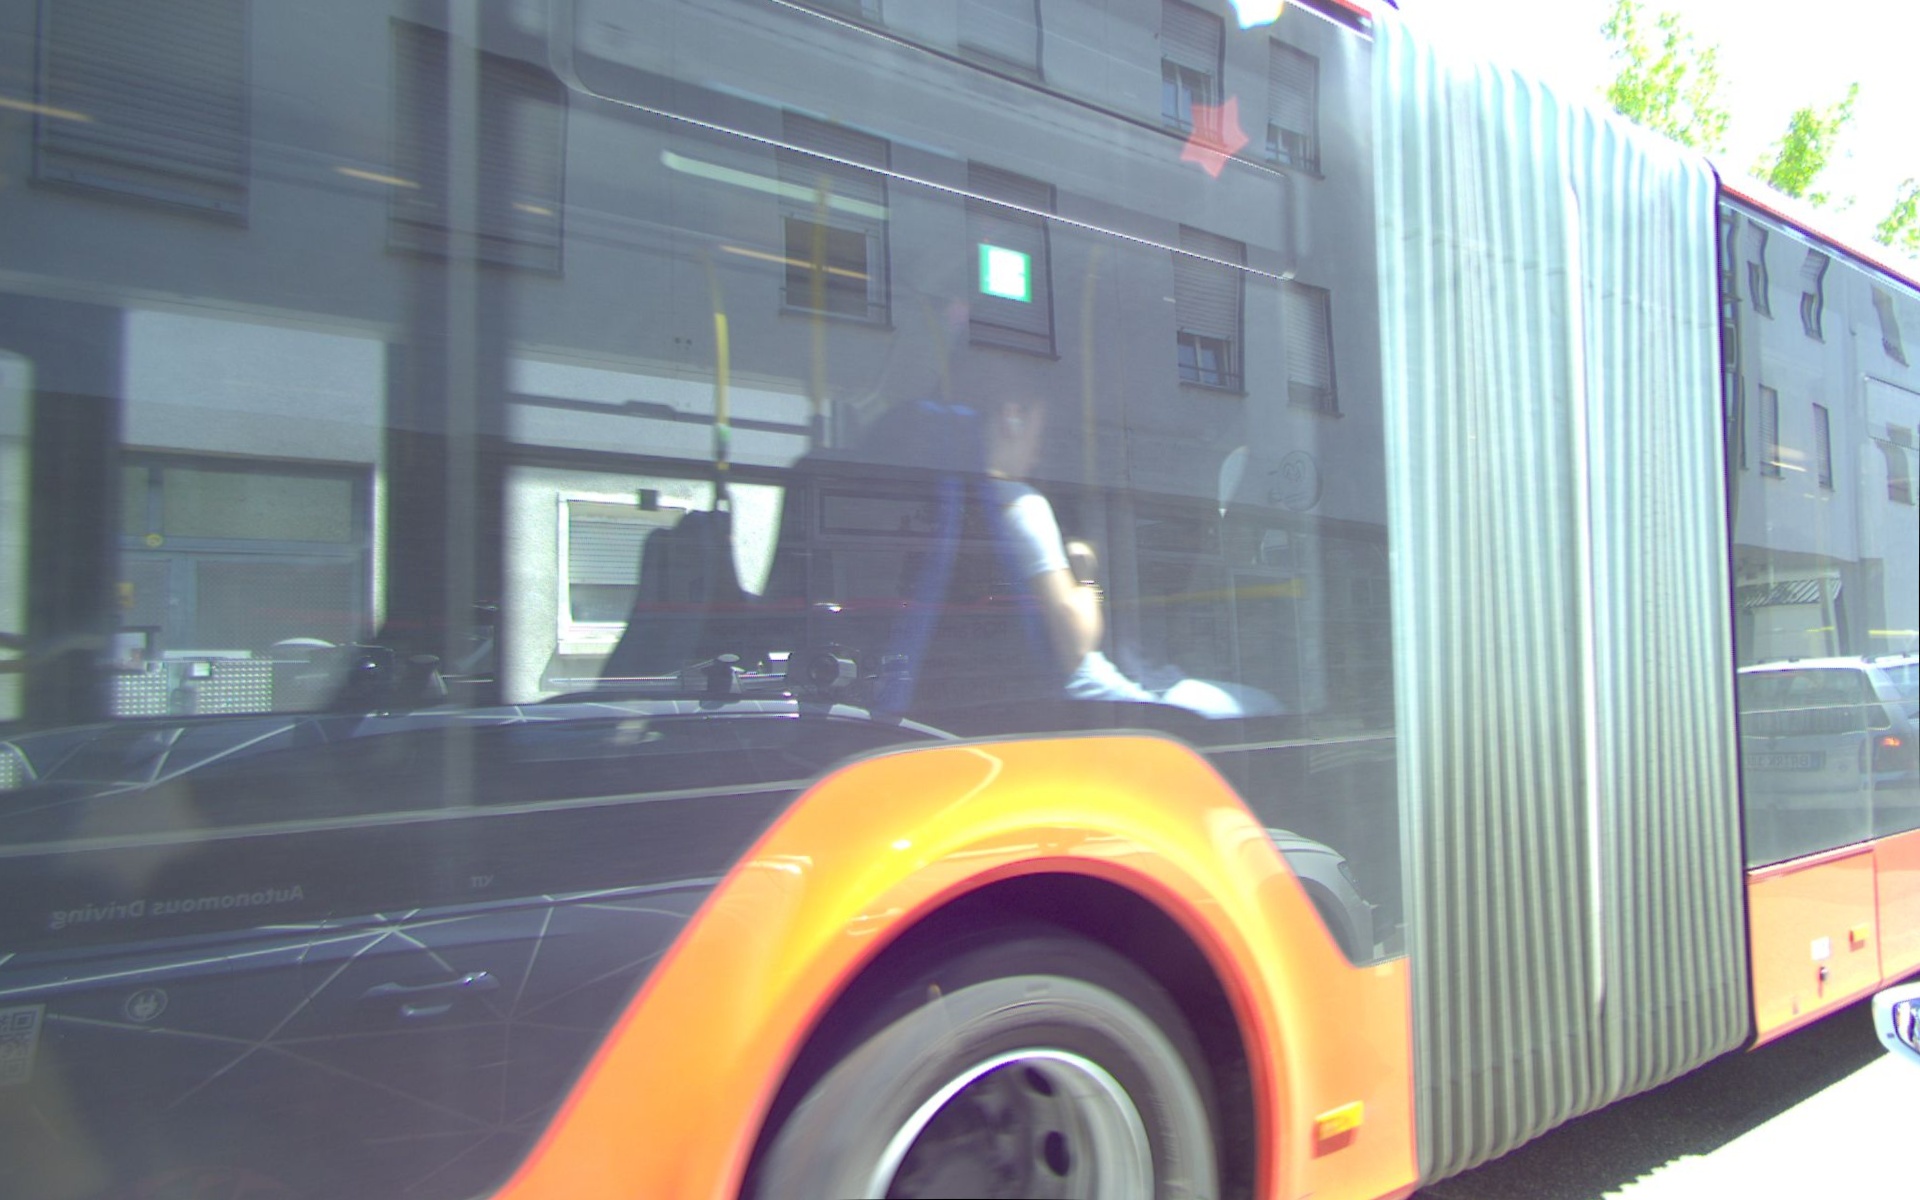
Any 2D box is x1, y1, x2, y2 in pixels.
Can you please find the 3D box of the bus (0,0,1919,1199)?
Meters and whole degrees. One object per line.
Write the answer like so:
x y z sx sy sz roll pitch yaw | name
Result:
0.610 -0.020 3.422 17.601 3.164 2.656 1 -2 -31 | bus
